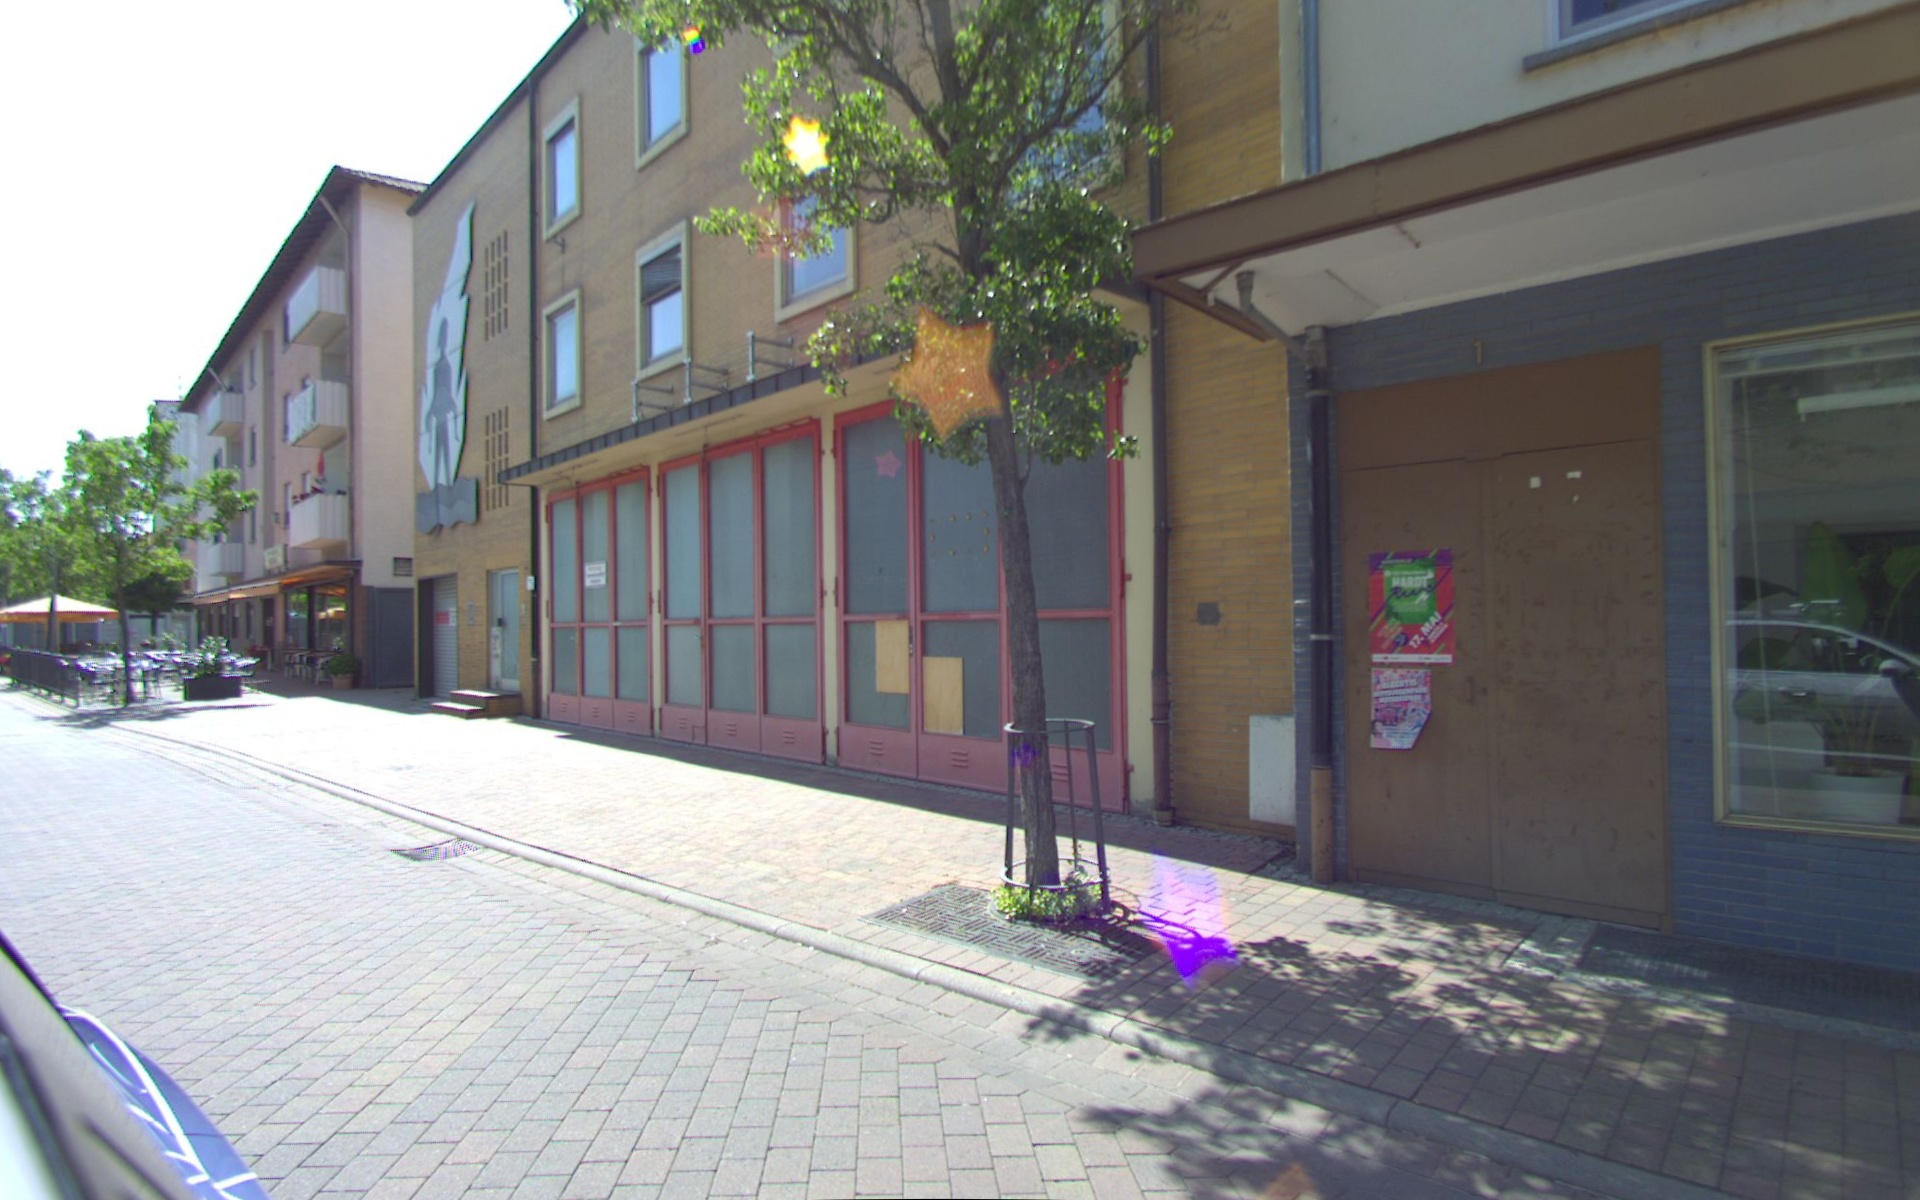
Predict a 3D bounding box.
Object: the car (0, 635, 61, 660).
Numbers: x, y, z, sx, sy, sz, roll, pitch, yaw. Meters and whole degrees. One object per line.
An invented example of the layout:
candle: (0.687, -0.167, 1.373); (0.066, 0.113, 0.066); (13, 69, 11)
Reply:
car: (-61.835, 3.102, 66.397); (1.874, 1.568, 5.042); (-1, -1, -10)
